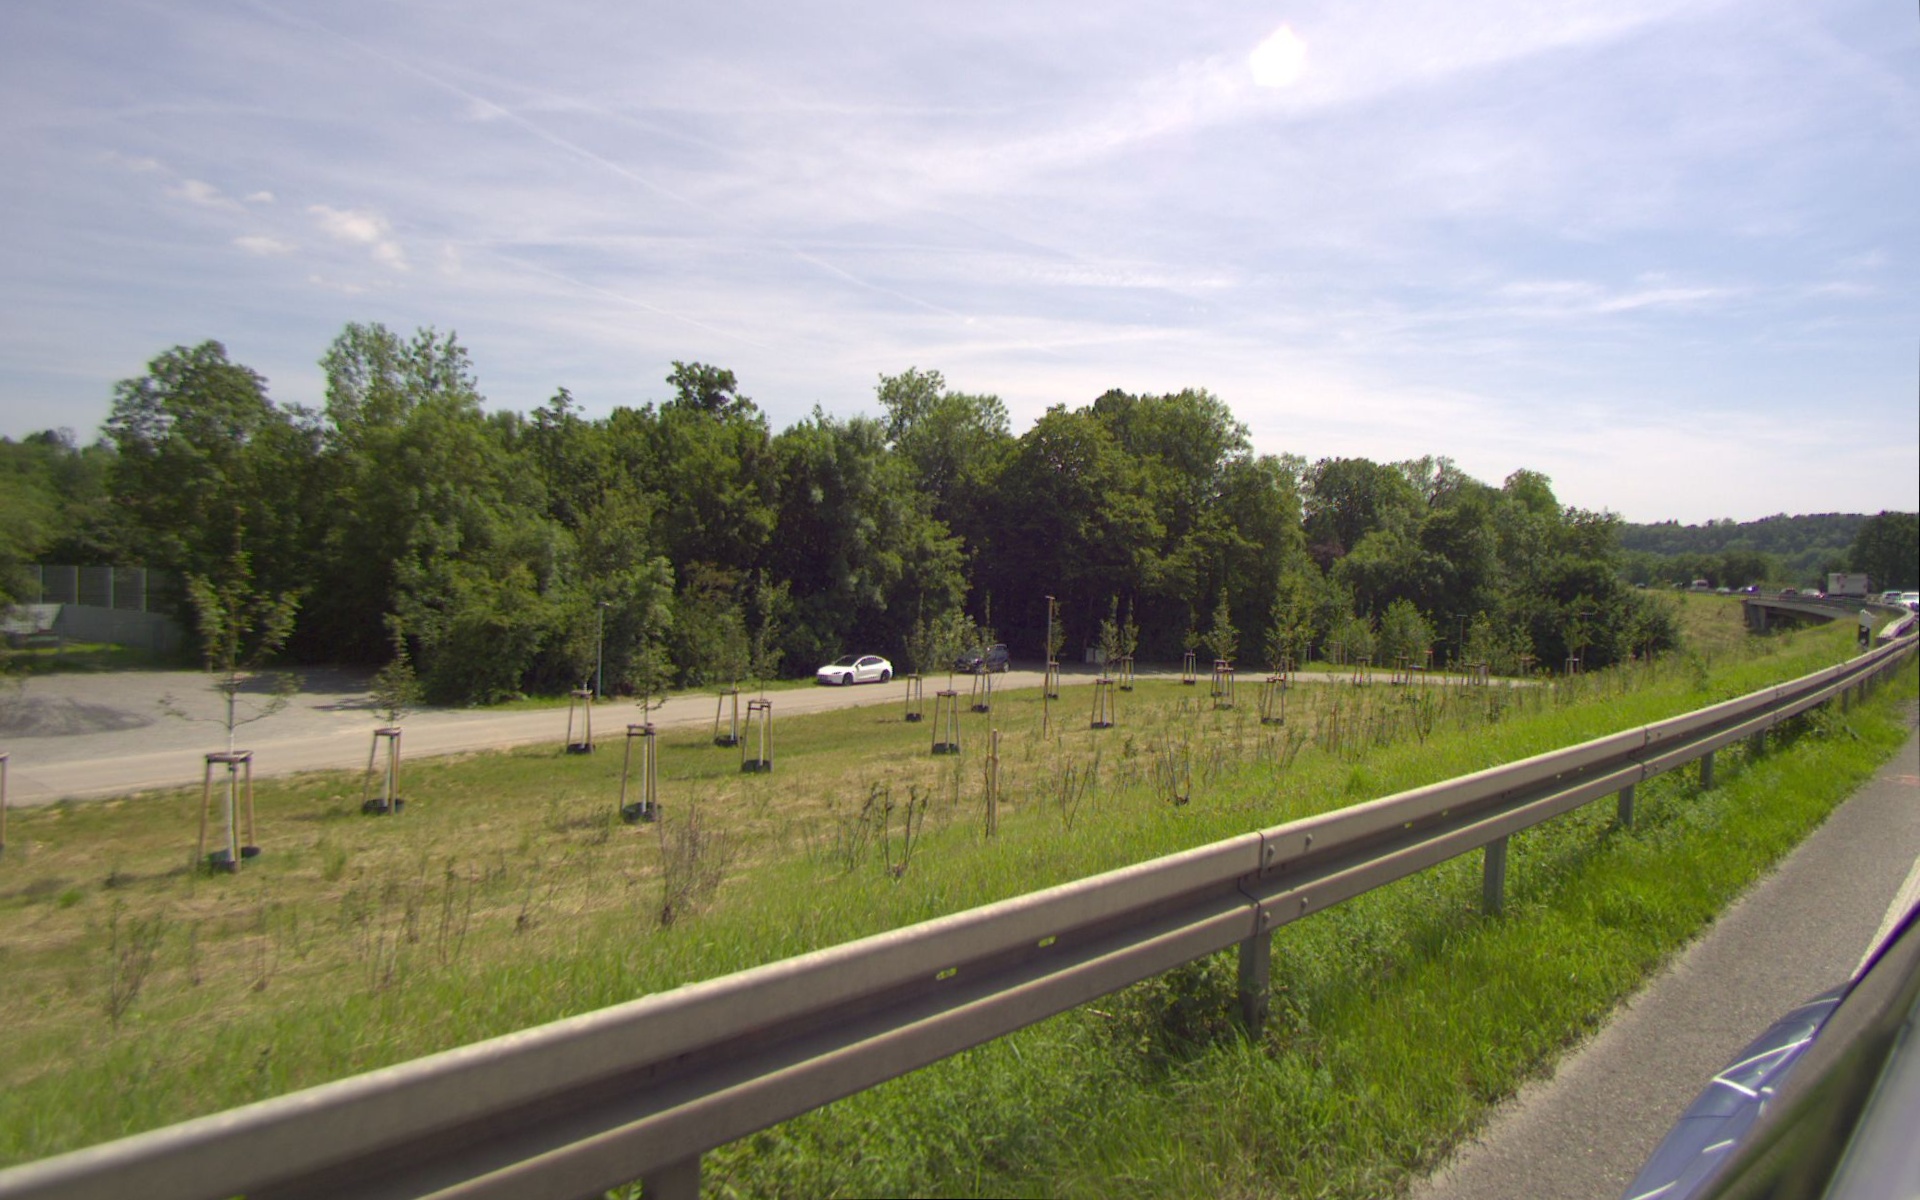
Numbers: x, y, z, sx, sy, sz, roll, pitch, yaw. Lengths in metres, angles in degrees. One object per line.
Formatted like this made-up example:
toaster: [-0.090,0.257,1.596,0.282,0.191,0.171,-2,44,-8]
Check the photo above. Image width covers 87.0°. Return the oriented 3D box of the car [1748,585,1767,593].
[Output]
car: [142.304,-1.998,180.679,1.709,1.453,4.575,0,1,26]

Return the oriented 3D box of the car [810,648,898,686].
car: [-5.383,3.414,51.908,1.855,1.501,4.545,5,3,38]

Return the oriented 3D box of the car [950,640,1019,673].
car: [1.516,3.352,60.653,1.856,1.703,4.138,5,3,40]

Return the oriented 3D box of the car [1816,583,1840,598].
car: [106.554,-1.148,124.312,1.971,1.754,3.947,0,1,37]

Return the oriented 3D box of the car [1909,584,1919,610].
car: [72.011,-0.233,75.168,1.973,1.811,3.942,0,2,40]

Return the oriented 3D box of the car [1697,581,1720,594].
car: [155.269,-2.527,210.063,2.158,2.591,5.762,0,1,19]

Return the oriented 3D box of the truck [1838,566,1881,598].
truck: [112.546,-2.153,126.726,2.905,3.851,9.584,0,0,35]

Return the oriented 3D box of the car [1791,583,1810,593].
car: [131.531,-1.838,158.339,1.713,1.501,4.518,0,1,32]

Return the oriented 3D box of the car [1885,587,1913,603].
car: [100.046,-0.523,107.860,1.753,1.530,3.949,0,2,36]
